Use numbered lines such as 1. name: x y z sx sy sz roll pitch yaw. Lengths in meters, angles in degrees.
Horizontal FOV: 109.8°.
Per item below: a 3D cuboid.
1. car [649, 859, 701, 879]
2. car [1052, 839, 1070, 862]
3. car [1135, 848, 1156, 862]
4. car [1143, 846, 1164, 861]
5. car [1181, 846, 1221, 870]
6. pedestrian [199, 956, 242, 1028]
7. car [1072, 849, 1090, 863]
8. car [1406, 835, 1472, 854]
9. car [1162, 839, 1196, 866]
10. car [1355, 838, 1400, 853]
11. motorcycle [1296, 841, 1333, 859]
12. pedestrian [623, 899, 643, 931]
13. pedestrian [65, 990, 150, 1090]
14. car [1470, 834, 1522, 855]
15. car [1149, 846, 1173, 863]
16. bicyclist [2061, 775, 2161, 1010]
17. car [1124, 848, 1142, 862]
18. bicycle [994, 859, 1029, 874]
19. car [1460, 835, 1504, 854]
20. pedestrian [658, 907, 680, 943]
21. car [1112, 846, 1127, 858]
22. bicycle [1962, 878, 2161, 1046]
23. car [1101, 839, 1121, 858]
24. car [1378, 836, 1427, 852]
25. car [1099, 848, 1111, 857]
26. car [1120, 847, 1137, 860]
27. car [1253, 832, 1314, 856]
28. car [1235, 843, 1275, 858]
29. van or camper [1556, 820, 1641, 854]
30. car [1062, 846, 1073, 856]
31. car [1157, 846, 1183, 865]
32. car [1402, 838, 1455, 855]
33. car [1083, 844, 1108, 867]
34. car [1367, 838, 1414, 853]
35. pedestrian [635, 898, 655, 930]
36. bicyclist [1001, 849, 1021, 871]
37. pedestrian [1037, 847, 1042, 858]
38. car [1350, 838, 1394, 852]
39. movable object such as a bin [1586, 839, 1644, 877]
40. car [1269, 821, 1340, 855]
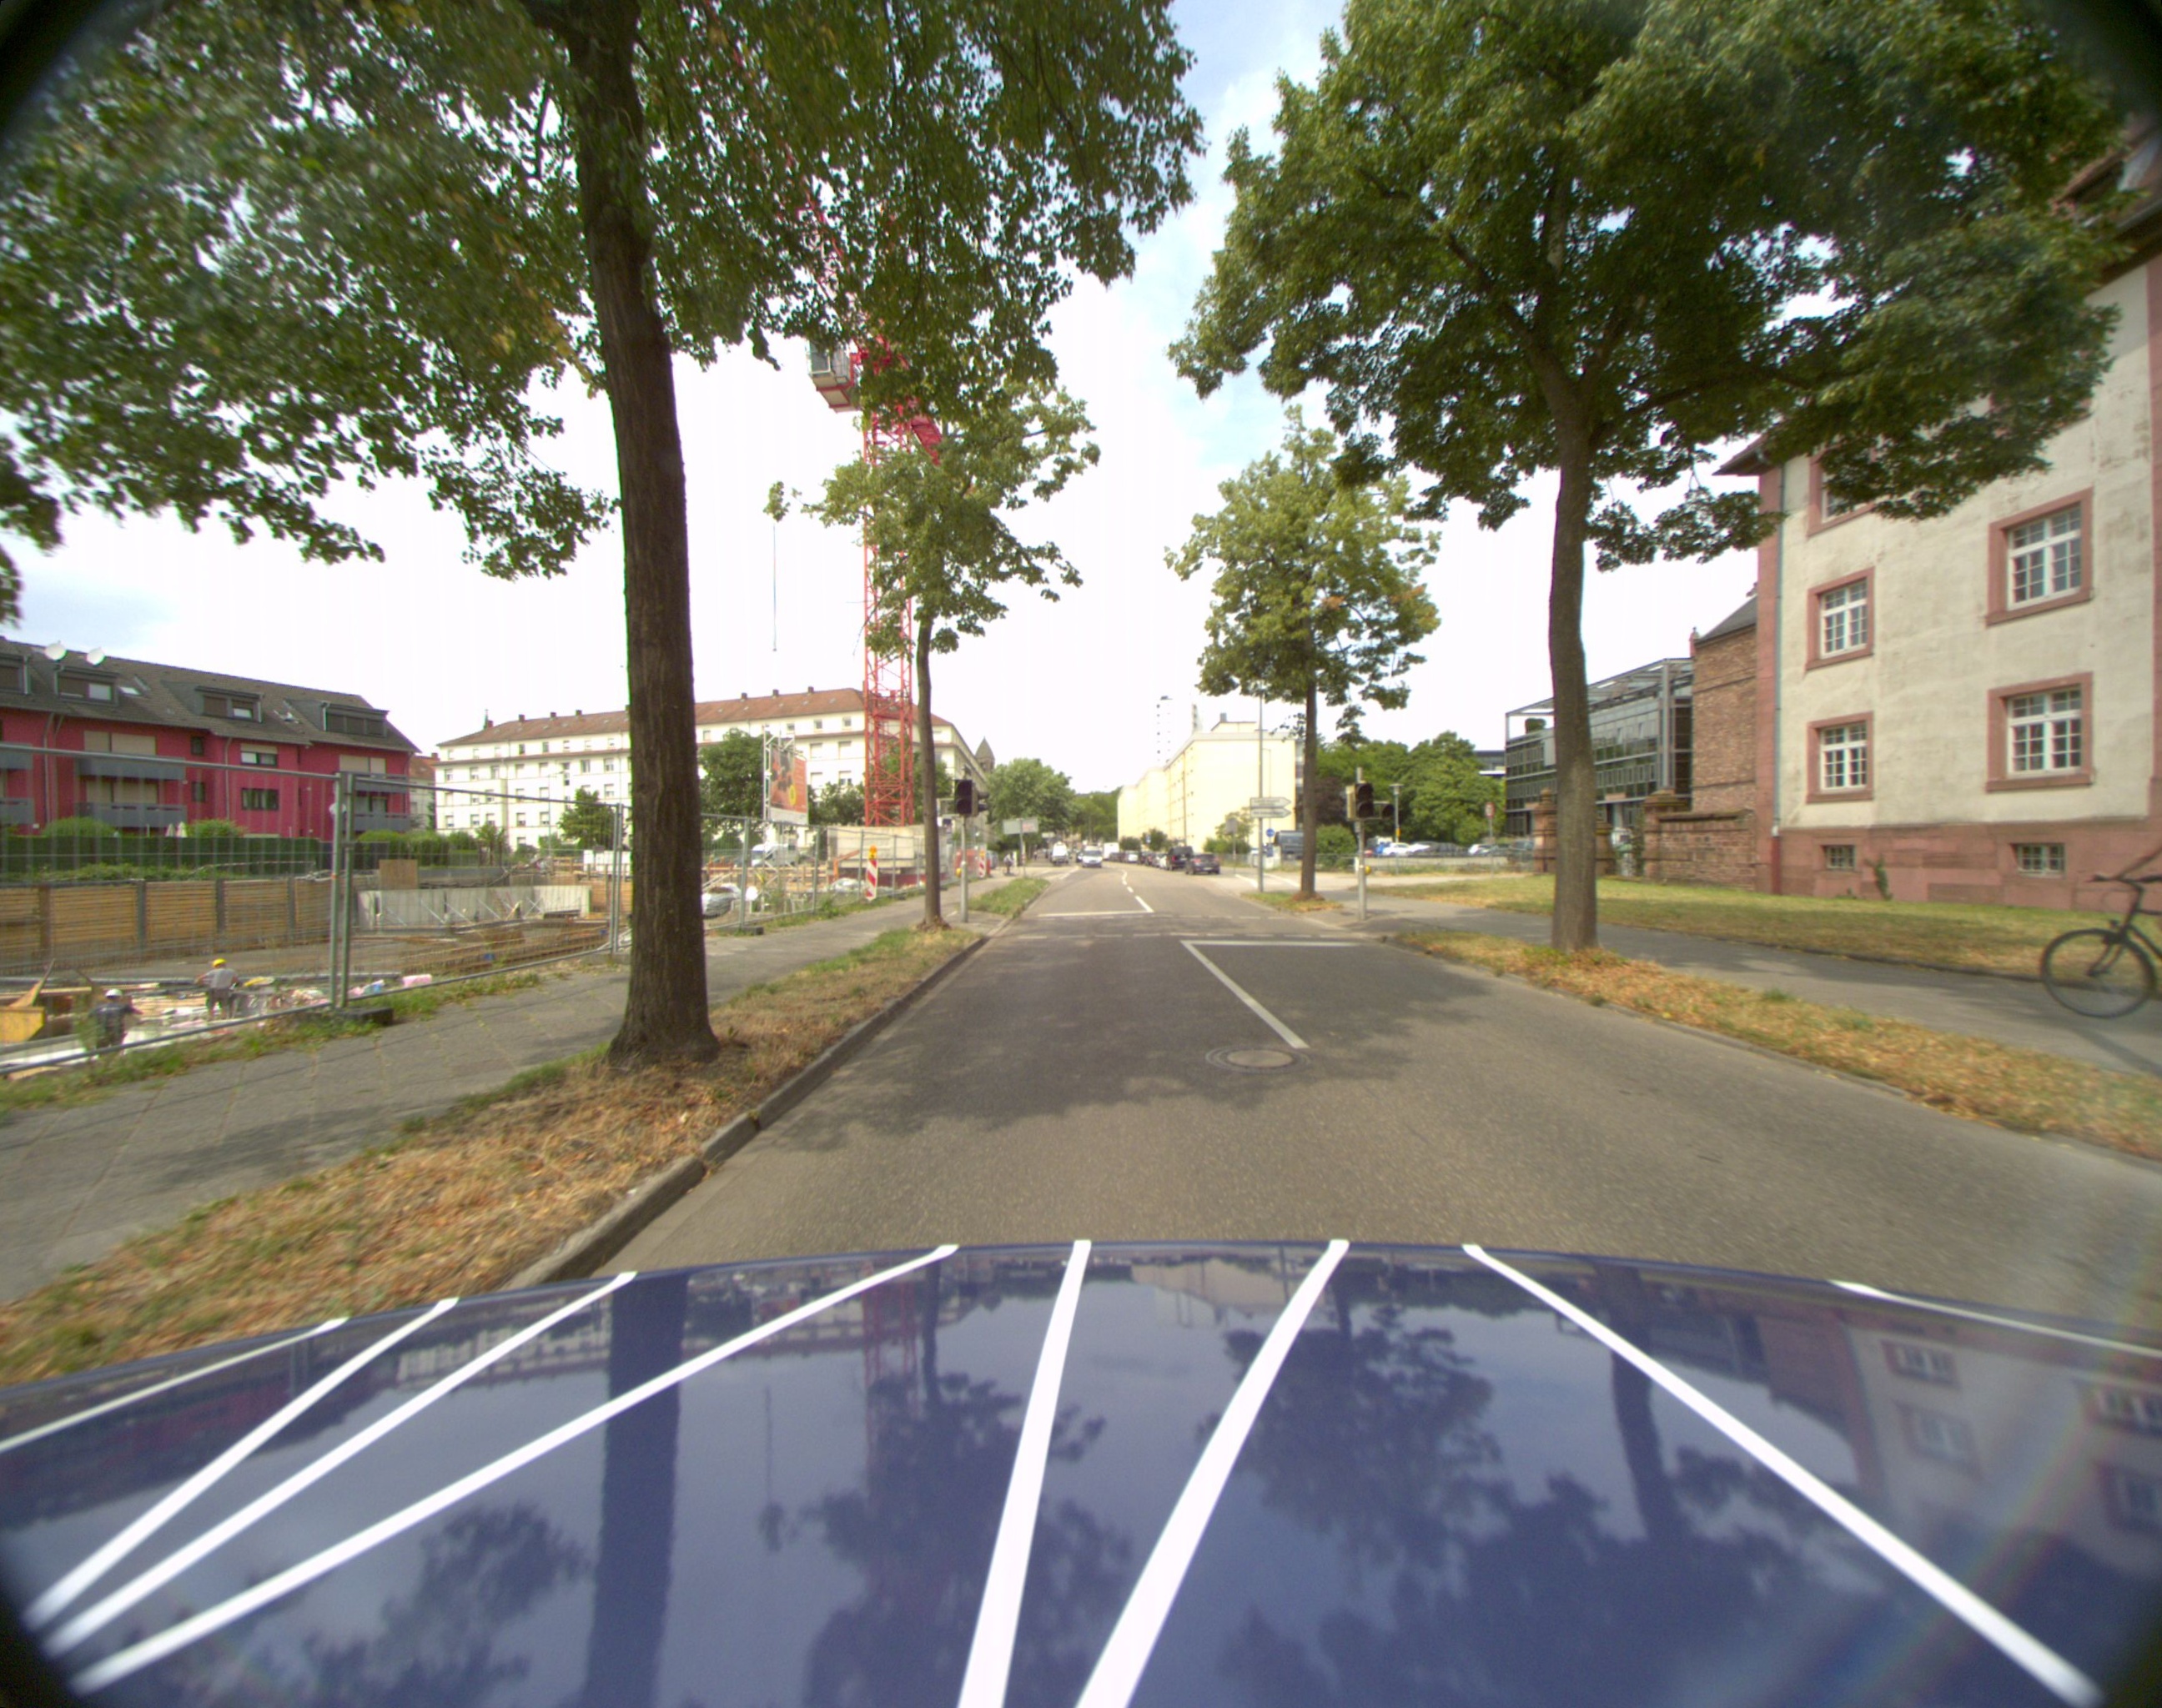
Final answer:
1. car: -37.604 1.355 70.443 1.796 1.580 3.923 -3 1 21
2. car: -2.377 -0.459 90.494 1.900 2.587 4.903 -4 1 -3
3. car: 7.077 0.090 83.774 1.626 1.566 3.998 -1 1 -4
4. car: 7.445 -0.101 78.189 1.691 1.462 4.047 -2 1 0
5. car: 7.970 0.251 50.870 1.827 1.464 4.296 -3 0 -1
6. pedestrian: -23.050 3.683 20.373 0.842 1.712 0.722 2 2 43
7. car: -0.031 0.193 95.898 1.999 1.656 3.998 1 1 -2
8. car: 31.677 -0.804 67.365 4.703 1.654 2.330 0 1 2
9. car: 7.843 -0.126 61.232 1.954 1.992 4.843 -2 0 0
10. car: 31.256 -0.949 80.225 3.997 1.474 1.982 -1 1 0
11. motorcycle: 14.768 -0.260 48.072 2.095 1.135 0.725 1 1 5
12. pedestrian: -25.161 3.426 42.648 0.842 1.712 0.722 2 2 38
13. pedestrian: -19.797 3.749 15.482 0.842 1.712 0.986 2 2 43
14. car: 42.839 -0.961 78.479 4.228 2.124 1.970 0 1 -1
15. car: 7.583 0.038 72.369 1.692 1.448 4.262 -1 0 -2
16. bicyclist: 7.923 0.254 5.343 0.724 1.646 0.958 -5 1 0
17. car: 6.444 0.113 94.547 1.791 1.554 4.550 -3 0 -1
18. bicycle: -4.727 0.856 51.580 2.473 0.927 0.716 -2 0 33
19. car: 43.143 -0.983 81.845 3.721 2.002 1.972 0 1 5
20. pedestrian: -20.693 3.554 38.164 0.842 1.712 0.722 2 2 38
21. car: 5.502 -0.252 108.226 1.722 1.615 3.837 -1 1 -4
22. bicycle: 7.970 0.787 5.461 0.724 1.089 2.151 -5 0 0
23. car: 4.847 -0.924 123.981 2.622 3.040 7.112 1 0 -3
24. car: 31.635 -0.996 74.834 3.997 1.474 1.969 -1 1 0
25. car: 4.276 -0.322 136.024 1.853 1.623 4.216 1 1 -2
26. car: 6.228 -0.116 100.311 1.722 1.615 3.837 -1 1 -4
27. car: 18.763 -0.938 70.471 5.097 2.137 2.229 0 0 3
28. car: 18.908 -0.382 82.839 3.995 1.474 2.000 -1 1 6
29. van or camper: 41.758 -1.332 61.401 5.061 2.687 2.581 0 1 -1
30. car: -2.480 -0.582 142.437 1.949 1.656 3.998 1 1 -2
31. car: 7.810 0.132 66.659 1.658 1.520 3.764 -2 0 -2
32. car: 31.923 -0.730 69.896 4.166 1.474 1.616 -1 1 0
33. car: 1.273 0.077 68.839 1.999 2.002 3.998 1 1 -2
34. car: 31.492 -0.899 77.426 3.997 1.474 1.857 -1 1 0
35. pedestrian: -25.006 3.414 43.532 0.842 1.712 0.722 2 2 38
36. bicyclist: -4.740 0.416 51.597 1.078 1.404 0.716 -4 -1 33
37. pedestrian: -6.976 -0.277 127.376 0.808 1.793 0.763 1 1 -3
38. car: 31.627 -0.980 82.640 3.997 1.474 1.982 -1 1 0
39. movable object such as a bin: 20.823 0.139 29.673 1.204 1.459 1.570 -1 1 2
40. car: 19.092 -1.342 65.016 5.324 2.537 2.354 -3 1 2
